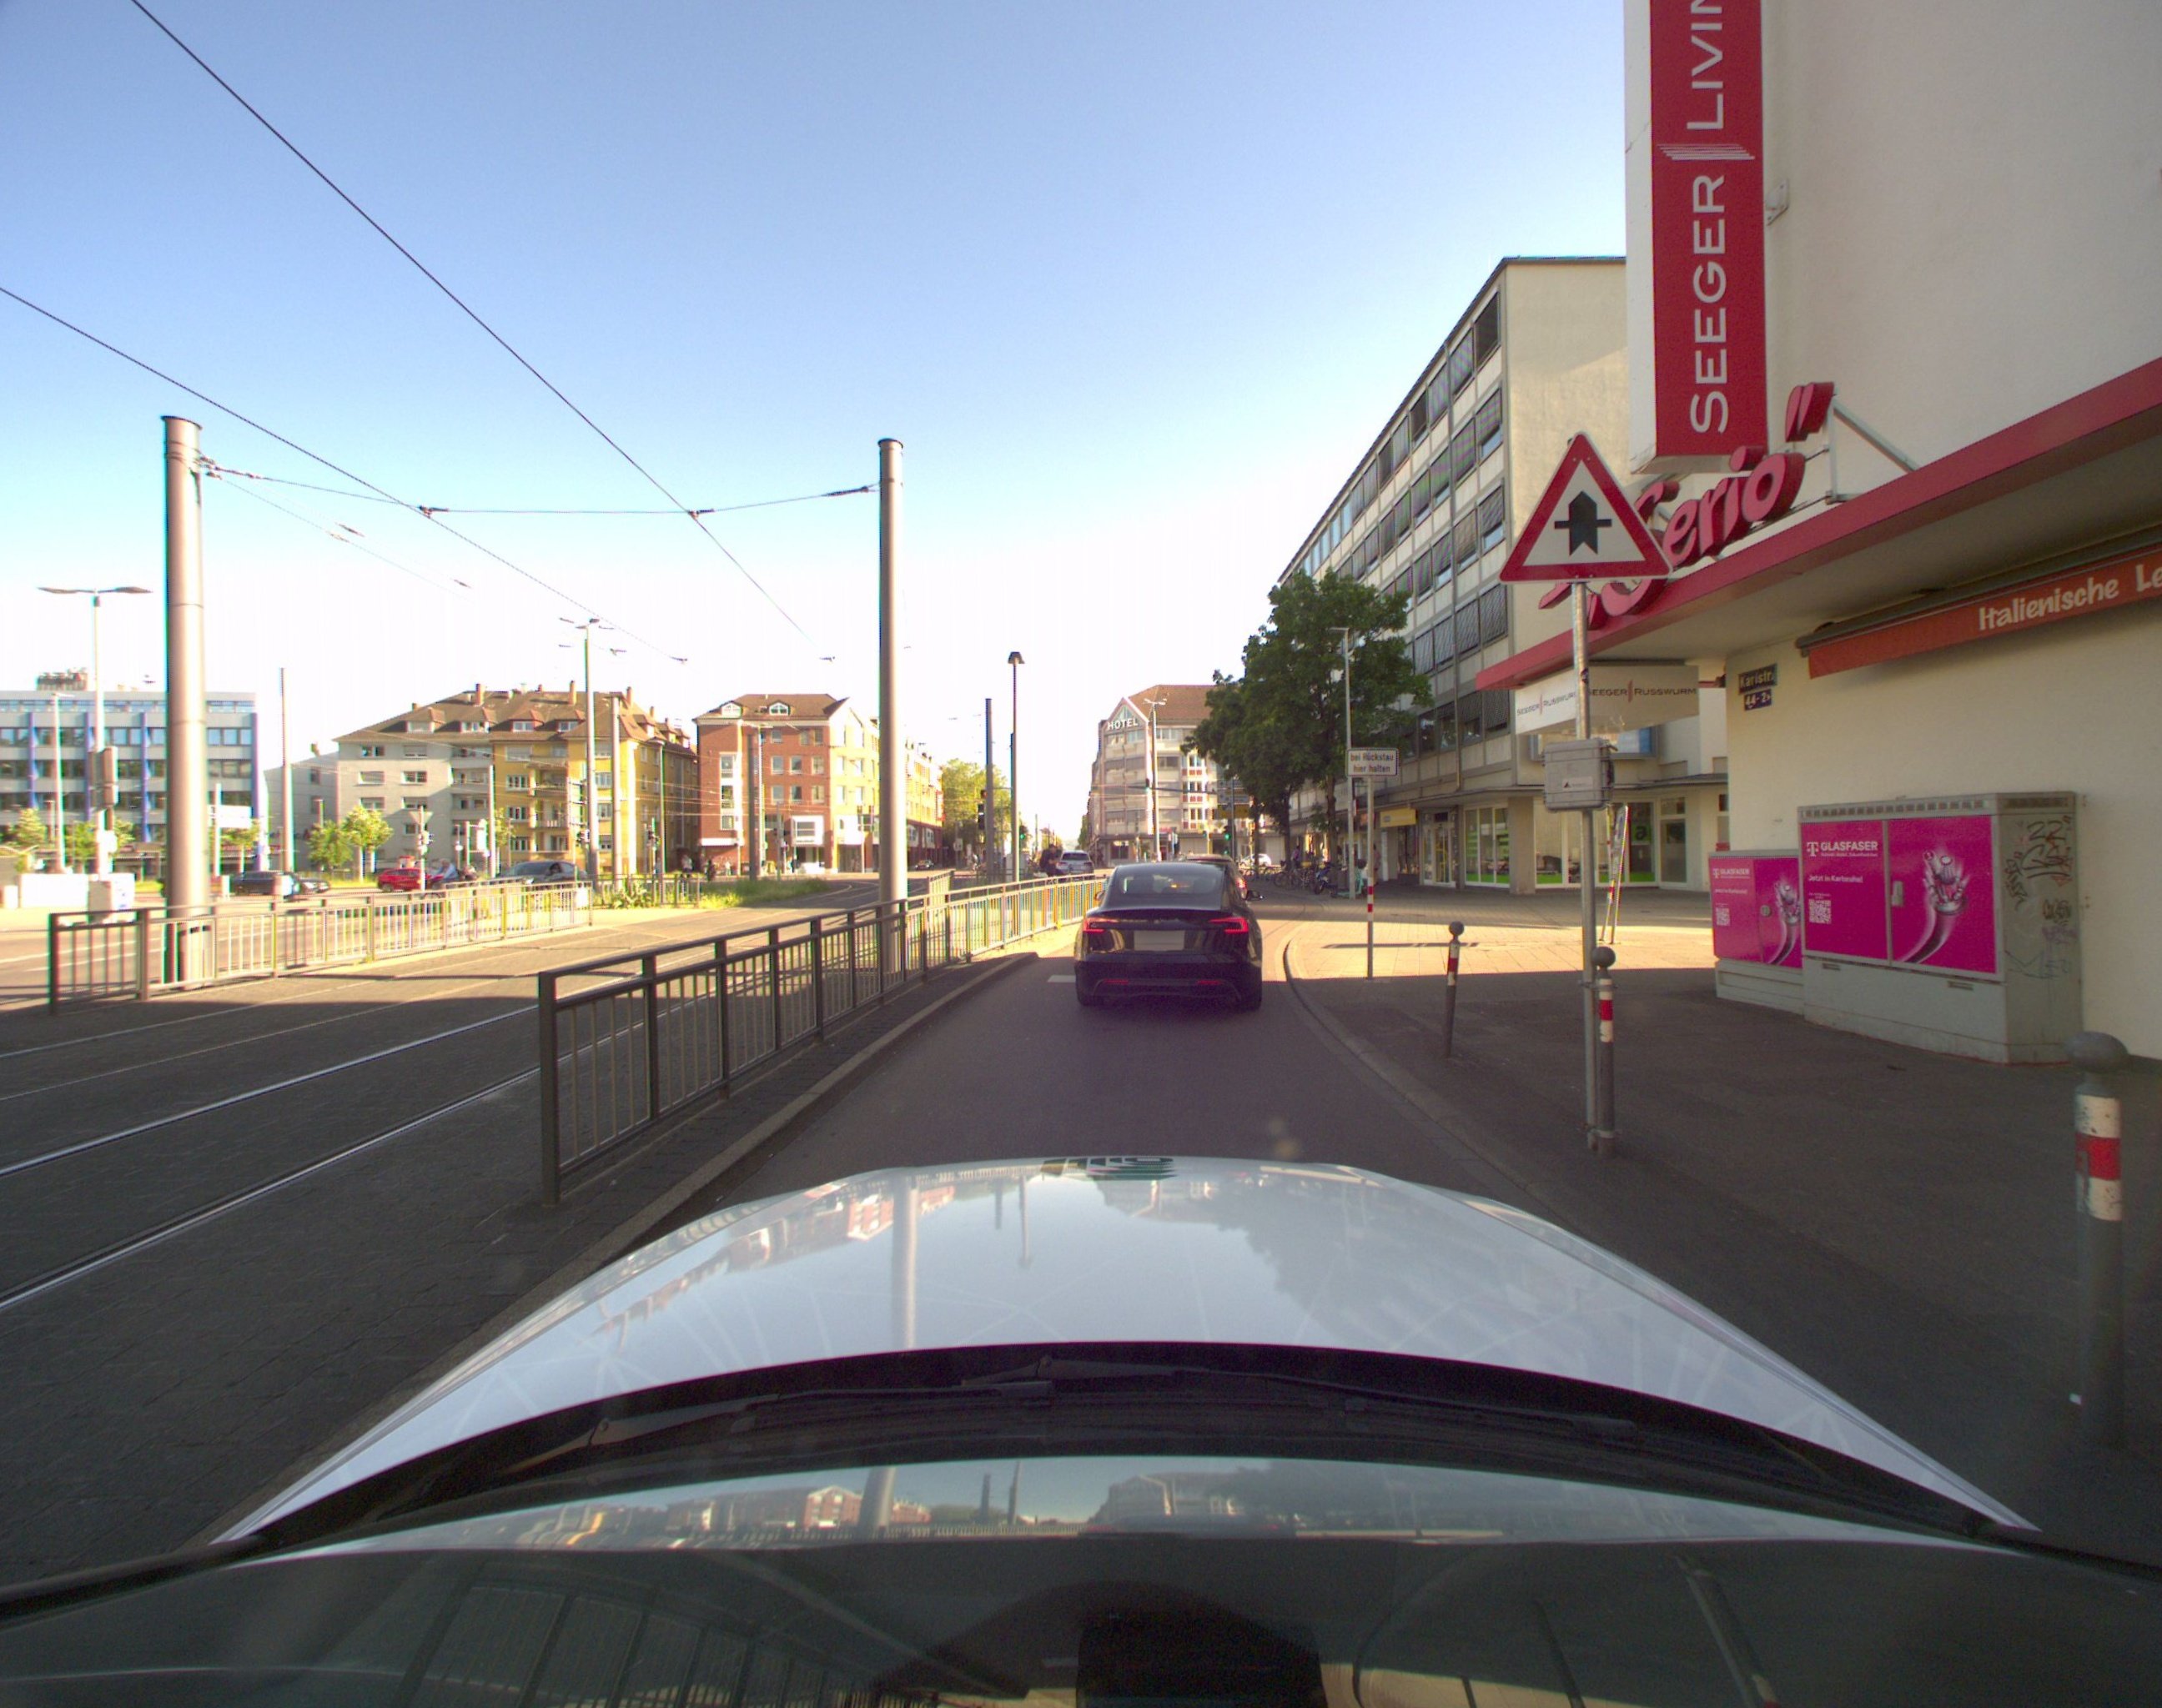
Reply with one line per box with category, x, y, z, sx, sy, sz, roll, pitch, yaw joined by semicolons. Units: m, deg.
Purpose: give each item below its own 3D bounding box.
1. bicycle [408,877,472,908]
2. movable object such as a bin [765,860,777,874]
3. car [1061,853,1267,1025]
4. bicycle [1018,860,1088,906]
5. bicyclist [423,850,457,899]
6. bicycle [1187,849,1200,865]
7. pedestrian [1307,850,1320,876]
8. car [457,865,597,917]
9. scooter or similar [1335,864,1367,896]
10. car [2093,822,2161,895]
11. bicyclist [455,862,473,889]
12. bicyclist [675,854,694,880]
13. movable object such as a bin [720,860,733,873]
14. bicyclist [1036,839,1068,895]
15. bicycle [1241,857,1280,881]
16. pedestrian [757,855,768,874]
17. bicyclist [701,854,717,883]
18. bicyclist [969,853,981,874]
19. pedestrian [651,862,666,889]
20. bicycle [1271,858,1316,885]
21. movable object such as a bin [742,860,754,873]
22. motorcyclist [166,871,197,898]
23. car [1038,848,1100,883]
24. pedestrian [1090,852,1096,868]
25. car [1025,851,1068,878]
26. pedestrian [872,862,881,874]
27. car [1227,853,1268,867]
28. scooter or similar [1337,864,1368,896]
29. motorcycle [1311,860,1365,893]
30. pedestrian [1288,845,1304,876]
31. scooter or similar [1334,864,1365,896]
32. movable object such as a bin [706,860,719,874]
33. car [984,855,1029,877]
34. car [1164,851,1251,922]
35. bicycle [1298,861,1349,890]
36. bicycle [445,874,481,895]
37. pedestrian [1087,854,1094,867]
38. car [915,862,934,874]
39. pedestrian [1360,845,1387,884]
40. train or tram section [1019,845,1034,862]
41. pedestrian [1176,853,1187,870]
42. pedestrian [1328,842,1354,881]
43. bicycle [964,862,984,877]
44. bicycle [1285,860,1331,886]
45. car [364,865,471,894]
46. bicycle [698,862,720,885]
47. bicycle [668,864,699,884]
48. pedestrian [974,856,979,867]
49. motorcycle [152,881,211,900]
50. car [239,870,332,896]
bicycle;-22.167;1.315;28.220;0.526;1.013;1.889;-1;-1;9
movable object such as a bin;-33.639;1.404;88.265;0.995;1.437;1.093;0;-1;-8
car;1.017;0.732;9.075;1.780;1.450;3.950;0;1;9
bicycle;-0.777;0.779;22.397;1.829;1.212;0.636;0;-1;-26
bicyclist;-22.173;0.710;28.178;0.517;1.673;0.772;-1;-1;9
bicycle;10.510;0.306;76.336;0.583;1.463;1.678;-1;0;-13
pedestrian;12.694;0.505;44.527;0.640;1.422;0.623;-1;-1;13
car;-18.154;1.153;26.943;1.678;1.560;4.124;0;-1;2
scooter or similar;8.952;0.860;27.002;0.952;1.039;0.160;-1;0;4
car;24.775;0.045;16.666;4.770;1.432;1.893;-1;3;22
bicyclist;-34.719;1.185;45.851;0.615;1.493;0.607;0;-1;-12
bicyclist;-21.726;0.715;44.662;0.660;1.454;0.731;0;-1;4
movable object such as a bin;-38.286;1.371;87.909;0.995;1.437;1.093;0;-1;-8
bicyclist;-0.804;0.353;22.394;0.684;1.523;0.629;0;-1;-26
bicycle;9.298;0.784;42.254;1.882;1.156;0.480;-2;-1;2
pedestrian;-29.767;1.000;76.092;0.694;1.710;0.928;0;-1;-5
bicyclist;-21.631;0.857;47.372;0.588;1.649;0.804;0;-1;-7
bicyclist;-9.058;0.837;69.404;0.617;1.772;0.820;0;-1;-42
pedestrian;-26.669;1.354;51.415;0.624;1.688;0.703;0;1;-11
bicycle;9.178;0.750;35.219;1.805;1.151;0.435;-1;-1;-3
movable object such as a bin;-36.000;1.328;88.023;0.995;1.437;1.093;0;-1;-8
motorcyclist;-51.769;1.746;46.872;0.919;1.524;0.781;0;-1;-5
car;-0.619;0.555;40.532;1.848;1.635;3.457;0;-1;-25
pedestrian;1.428;0.706;94.907;0.624;1.782;0.917;0;-1;0
car;-2.256;0.675;52.035;1.579;1.618;3.756;0;-1;-22
pedestrian;-27.064;1.852;107.747;0.876;1.568;0.868;-1;-1;23
car;17.599;0.657;86.140;3.832;1.432;1.801;-1;-2;-4
scooter or similar;8.937;0.847;26.804;0.959;1.043;0.160;-1;0;4
motorcycle;9.176;0.797;29.077;1.781;1.130;0.504;0;-1;-1
pedestrian;11.907;0.367;45.206;0.837;1.721;0.883;-1;-1;14
scooter or similar;8.966;0.872;27.202;0.959;1.027;0.160;-1;0;4
movable object such as a bin;-39.612;1.370;87.663;0.995;1.437;1.093;0;-1;-8
car;-5.493;0.853;59.636;1.739;1.551;3.434;0;-1;-38
car;2.860;0.666;18.993;1.755;1.444;4.537;0;0;7
bicycle;9.290;0.815;31.192;1.850;1.056;0.398;-2;0;-10
bicycle;-34.764;1.709;45.836;1.497;1.133;0.609;0;-1;-13
pedestrian;1.247;0.889;108.089;0.911;1.754;0.839;0;-1;0
car;-20.171;1.822;104.864;1.813;1.454;3.972;-2;0;-3
pedestrian;12.295;0.430;34.274;0.840;1.602;0.880;0;-1;1
train or tram section;-11.941;-0.122;179.737;2.720;3.542;10.084;0;-1;0
pedestrian;9.362;0.697;76.084;0.780;1.576;0.864;0;1;-13
pedestrian;11.427;0.329;35.832;0.840;1.707;0.880;0;-1;1
bicycle;-9.143;1.295;69.502;0.632;1.223;2.016;0;-1;-42
bicycle;9.258;0.777;33.236;1.758;1.057;0.459;0;-1;6
car;-39.292;1.506;48.323;4.548;1.509;1.777;-2;0;-9
bicycle;-21.626;1.141;47.386;0.573;1.291;2.022;0;-1;-7
bicycle;-21.723;1.085;44.507;0.647;1.013;1.887;0;-1;4
pedestrian;-14.103;0.978;109.658;0.584;1.531;0.634;0;-1;-16
motorcycle;-51.749;2.097;46.874;2.355;0.984;0.790;0;-1;-6
car;-46.410;1.669;47.581;3.695;1.472;1.572;0;-1;-6
